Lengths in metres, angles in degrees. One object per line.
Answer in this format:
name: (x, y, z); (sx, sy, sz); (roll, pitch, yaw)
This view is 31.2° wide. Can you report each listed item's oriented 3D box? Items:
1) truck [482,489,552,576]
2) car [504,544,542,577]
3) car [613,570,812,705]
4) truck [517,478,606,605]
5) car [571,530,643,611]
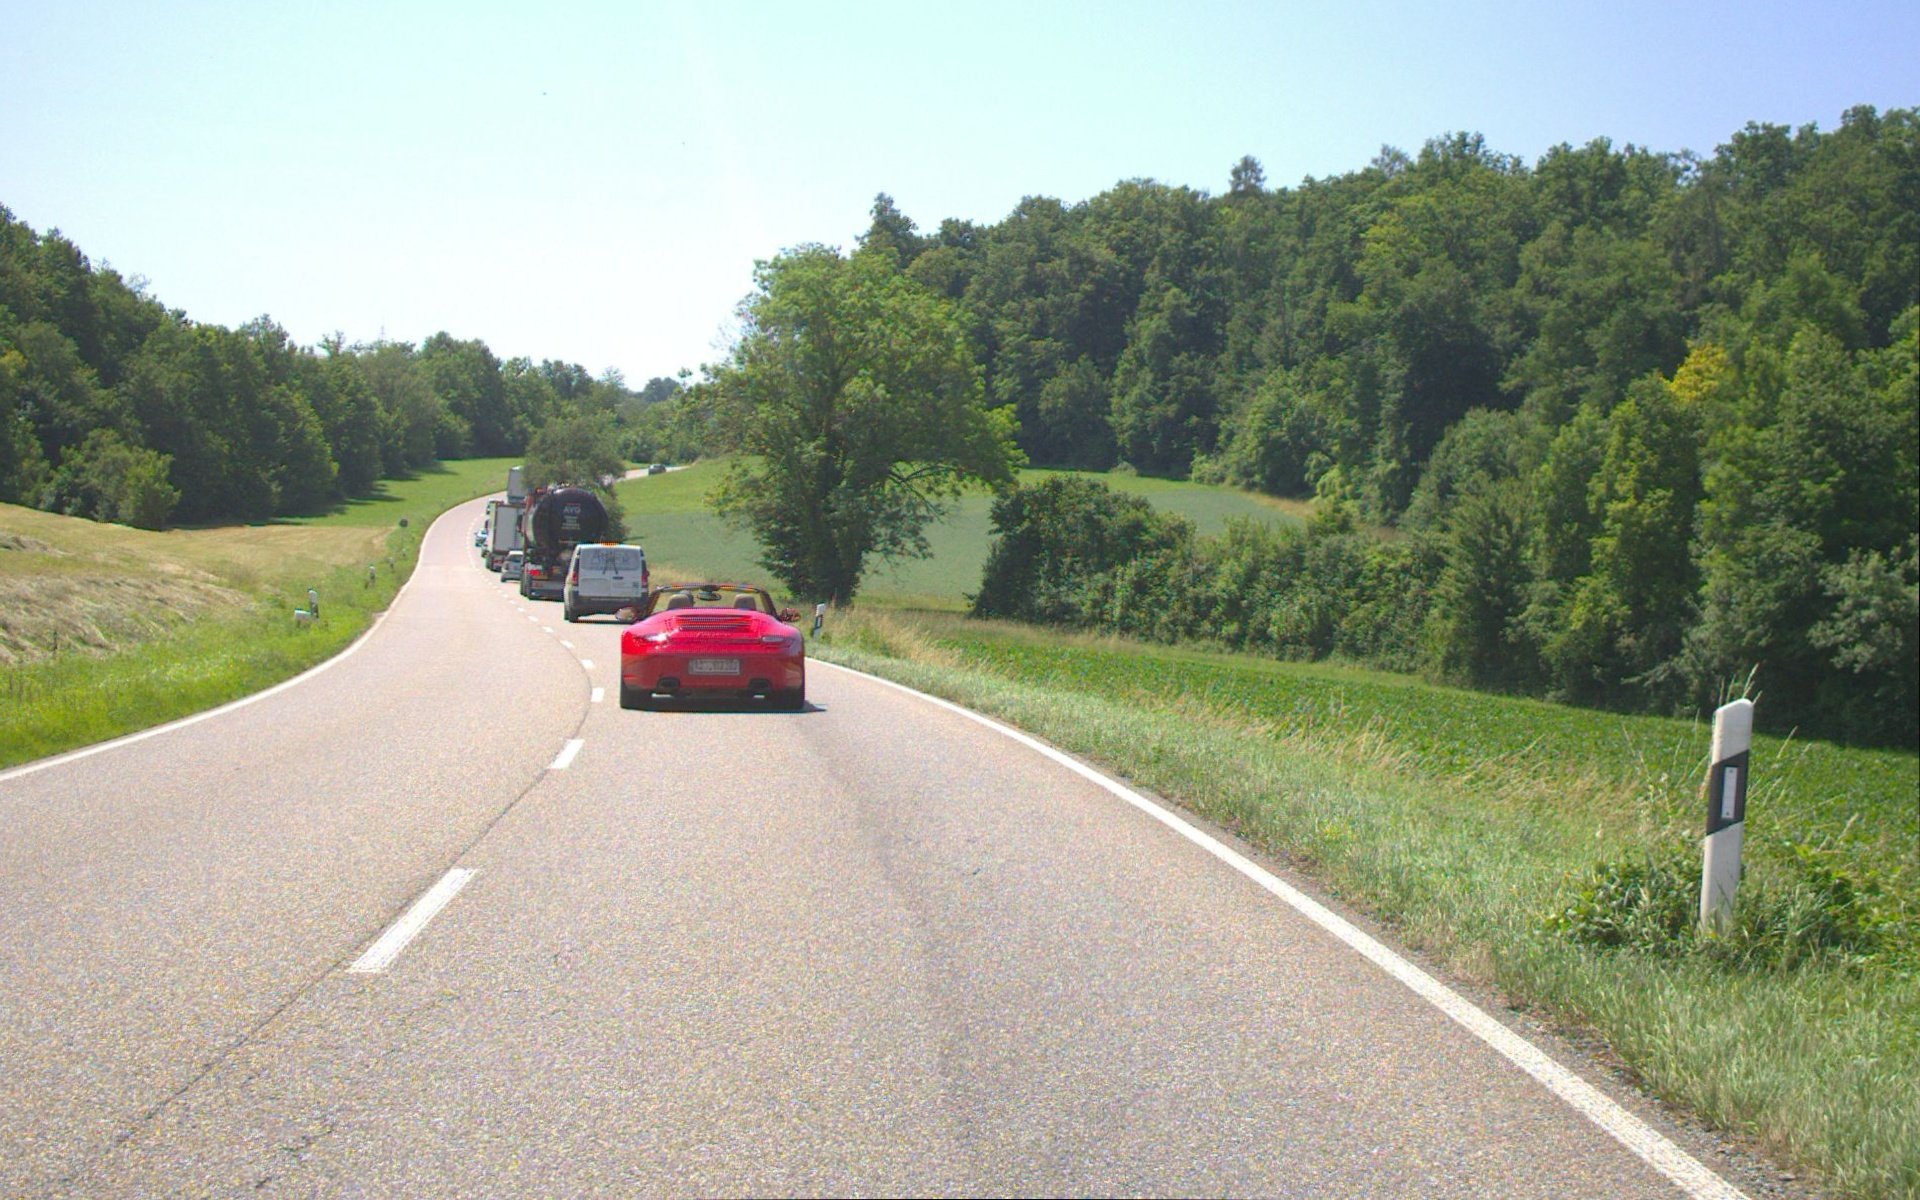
truck: (-26.579, -4.112, 205.706); (3.724, 4.644, 12.035); (1, 3, -9)
car: (-21.163, -1.916, 166.321); (1.722, 1.579, 4.161); (1, 1, -9)
car: (-2.512, 0.353, 35.657); (1.882, 1.251, 4.010); (1, 1, -2)
truck: (-14.013, -2.155, 120.185); (2.403, 4.035, 12.555); (1, 2, -10)
car: (-8.593, -0.734, 83.628); (1.678, 1.894, 4.010); (1, 1, -6)
